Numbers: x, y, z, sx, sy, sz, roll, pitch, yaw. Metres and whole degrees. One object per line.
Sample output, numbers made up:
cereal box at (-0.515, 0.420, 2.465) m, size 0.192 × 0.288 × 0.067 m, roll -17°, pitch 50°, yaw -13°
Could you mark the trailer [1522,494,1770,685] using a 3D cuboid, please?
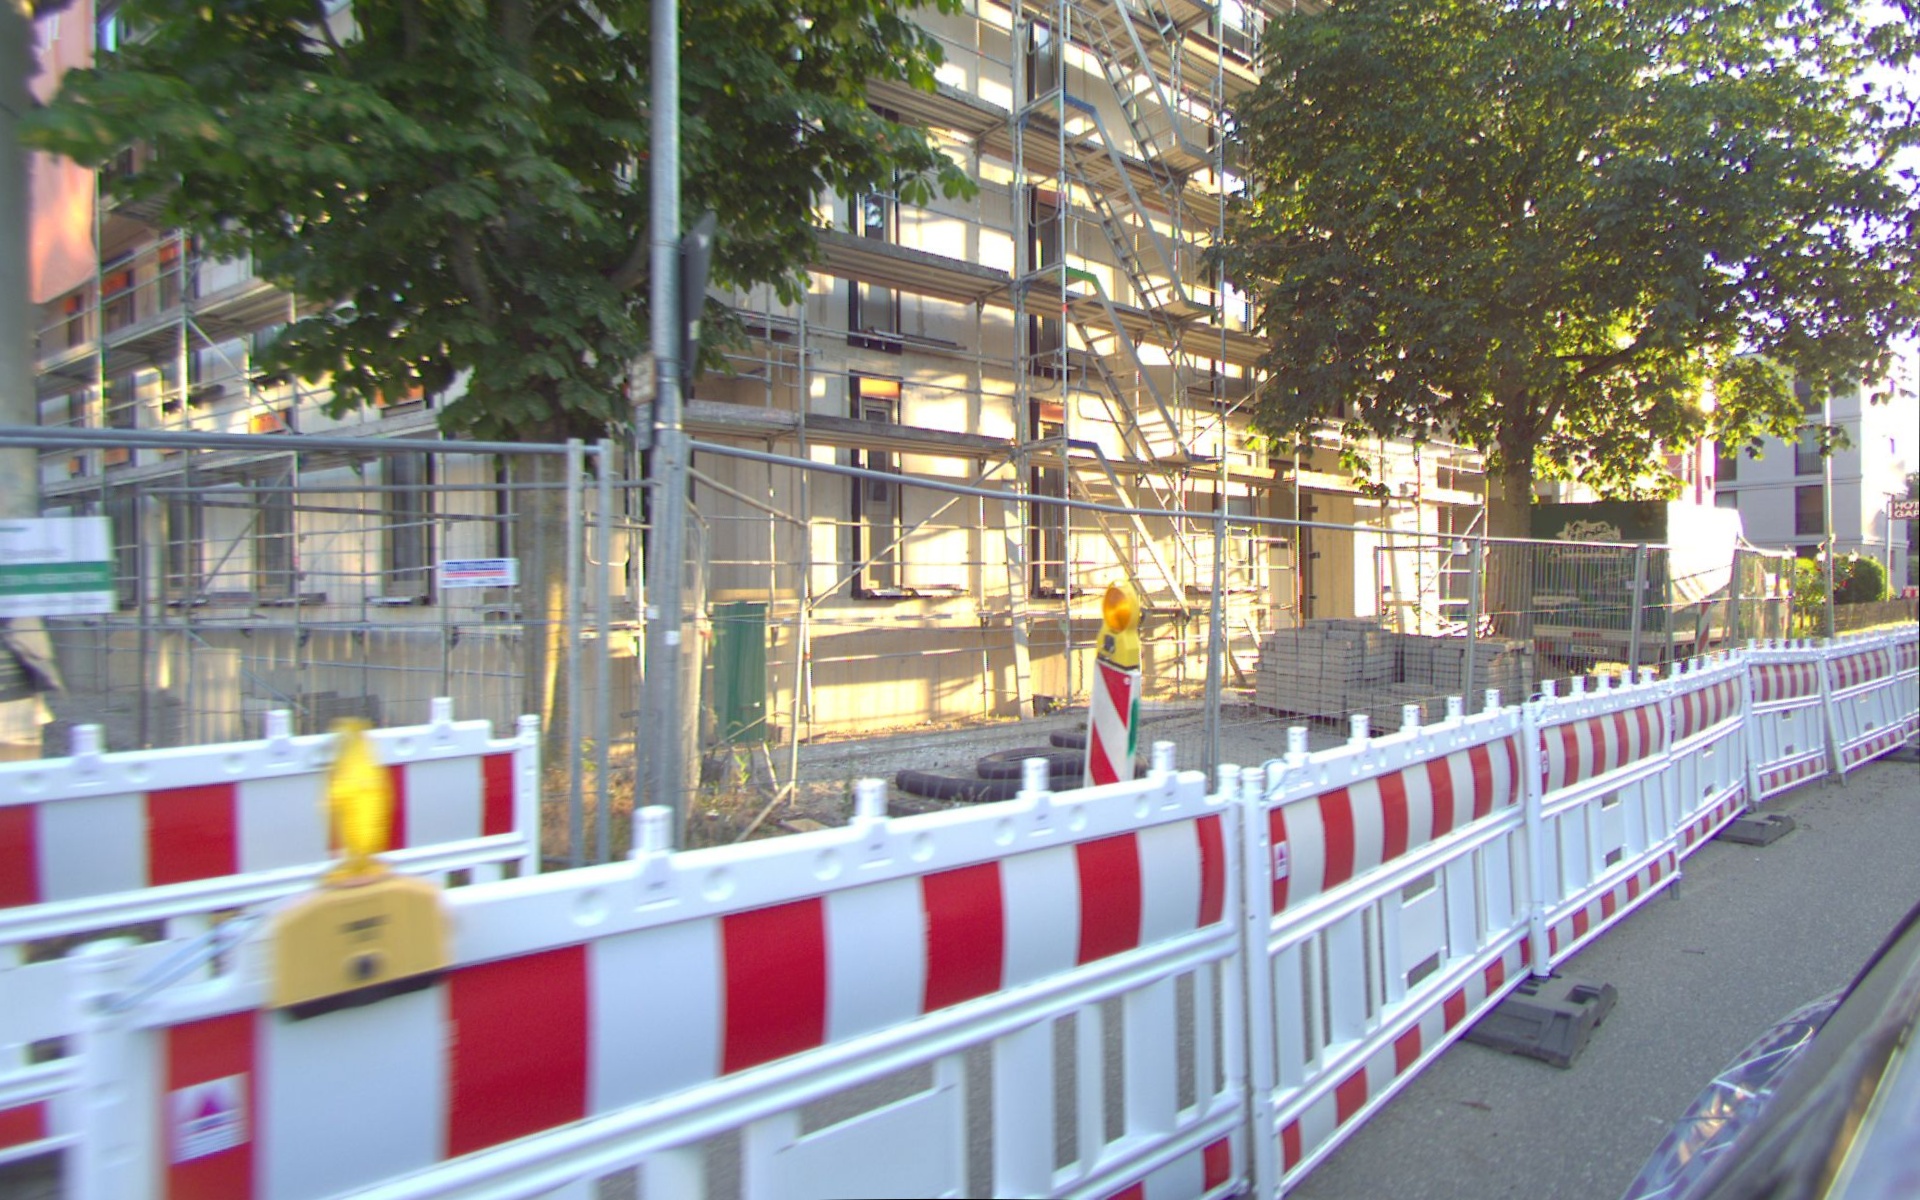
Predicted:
trailer at (10.665, -0.169, 15.639) m, size 4.109 × 2.572 × 1.998 m, roll -1°, pitch 0°, yaw -38°
